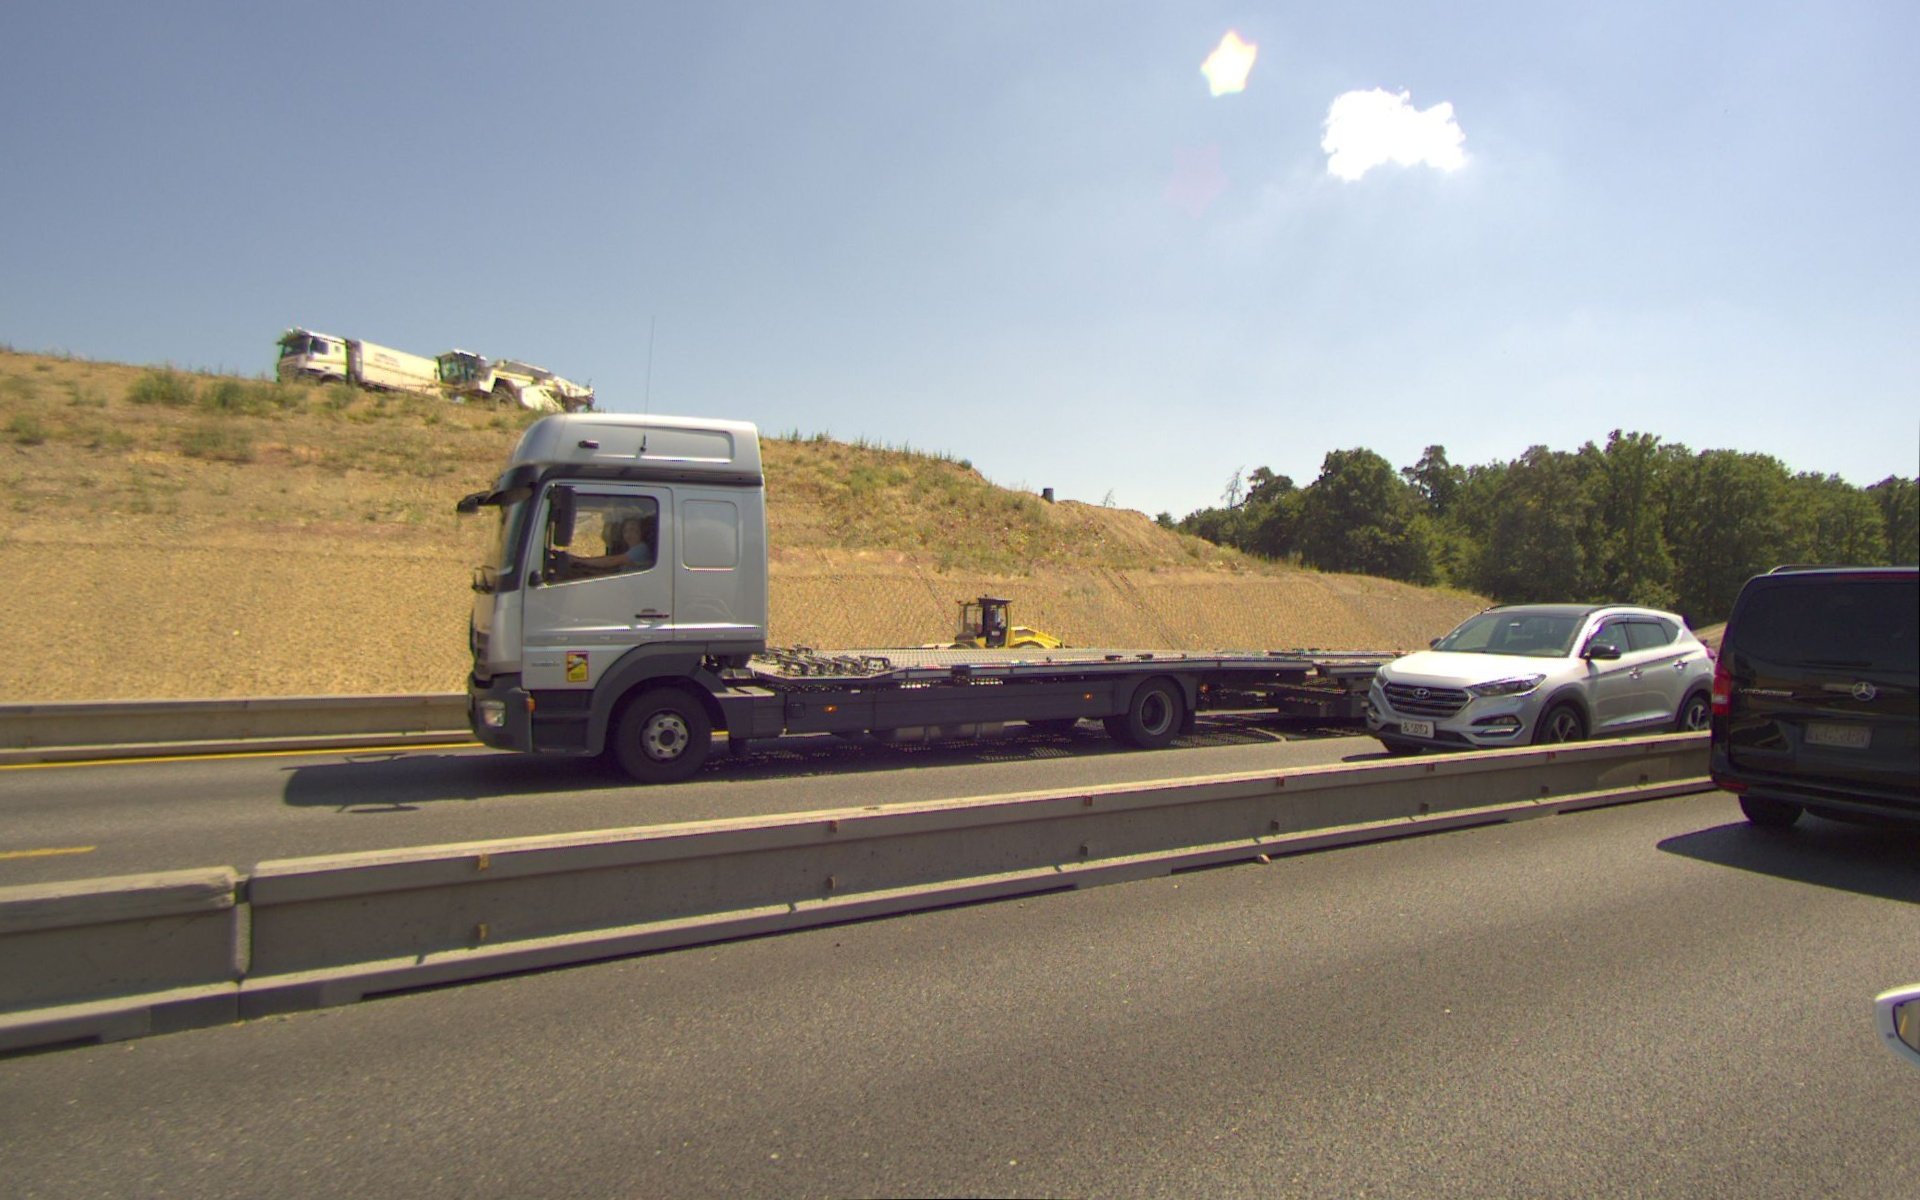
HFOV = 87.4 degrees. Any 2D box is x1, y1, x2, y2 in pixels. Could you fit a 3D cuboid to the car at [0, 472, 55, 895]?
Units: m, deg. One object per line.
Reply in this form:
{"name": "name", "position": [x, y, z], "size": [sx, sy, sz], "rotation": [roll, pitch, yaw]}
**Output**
{"name": "car", "position": [-6.518, 0.297, 3.093], "size": [5.204, 1.952, 1.816], "rotation": [3, 0, -31]}

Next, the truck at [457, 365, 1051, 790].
{"name": "truck", "position": [-1.910, -0.076, 9.614], "size": [5.003, 3.099, 2.387], "rotation": [3, 0, -30]}

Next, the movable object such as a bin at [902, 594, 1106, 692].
{"name": "movable object such as a bin", "position": [1.605, 1.481, 34.876], "size": [7.079, 3.150, 2.159], "rotation": [1, -2, -30]}

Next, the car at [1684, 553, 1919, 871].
{"name": "car", "position": [7.871, 0.737, 7.579], "size": [5.415, 1.876, 1.865], "rotation": [2, 0, -31]}

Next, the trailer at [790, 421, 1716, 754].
{"name": "trailer", "position": [5.275, 0.100, 13.757], "size": [15.088, 2.971, 2.336], "rotation": [2, 0, -30]}

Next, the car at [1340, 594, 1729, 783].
{"name": "car", "position": [6.212, 0.866, 10.729], "size": [4.342, 1.652, 1.715], "rotation": [3, 0, -32]}

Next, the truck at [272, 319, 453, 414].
{"name": "truck", "position": [-31.555, -12.229, 53.546], "size": [2.317, 2.937, 8.362], "rotation": [2, 0, 24]}

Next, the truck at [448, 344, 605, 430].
{"name": "truck", "position": [-24.300, -11.885, 56.930], "size": [2.258, 2.785, 8.901], "rotation": [2, 0, 24]}
